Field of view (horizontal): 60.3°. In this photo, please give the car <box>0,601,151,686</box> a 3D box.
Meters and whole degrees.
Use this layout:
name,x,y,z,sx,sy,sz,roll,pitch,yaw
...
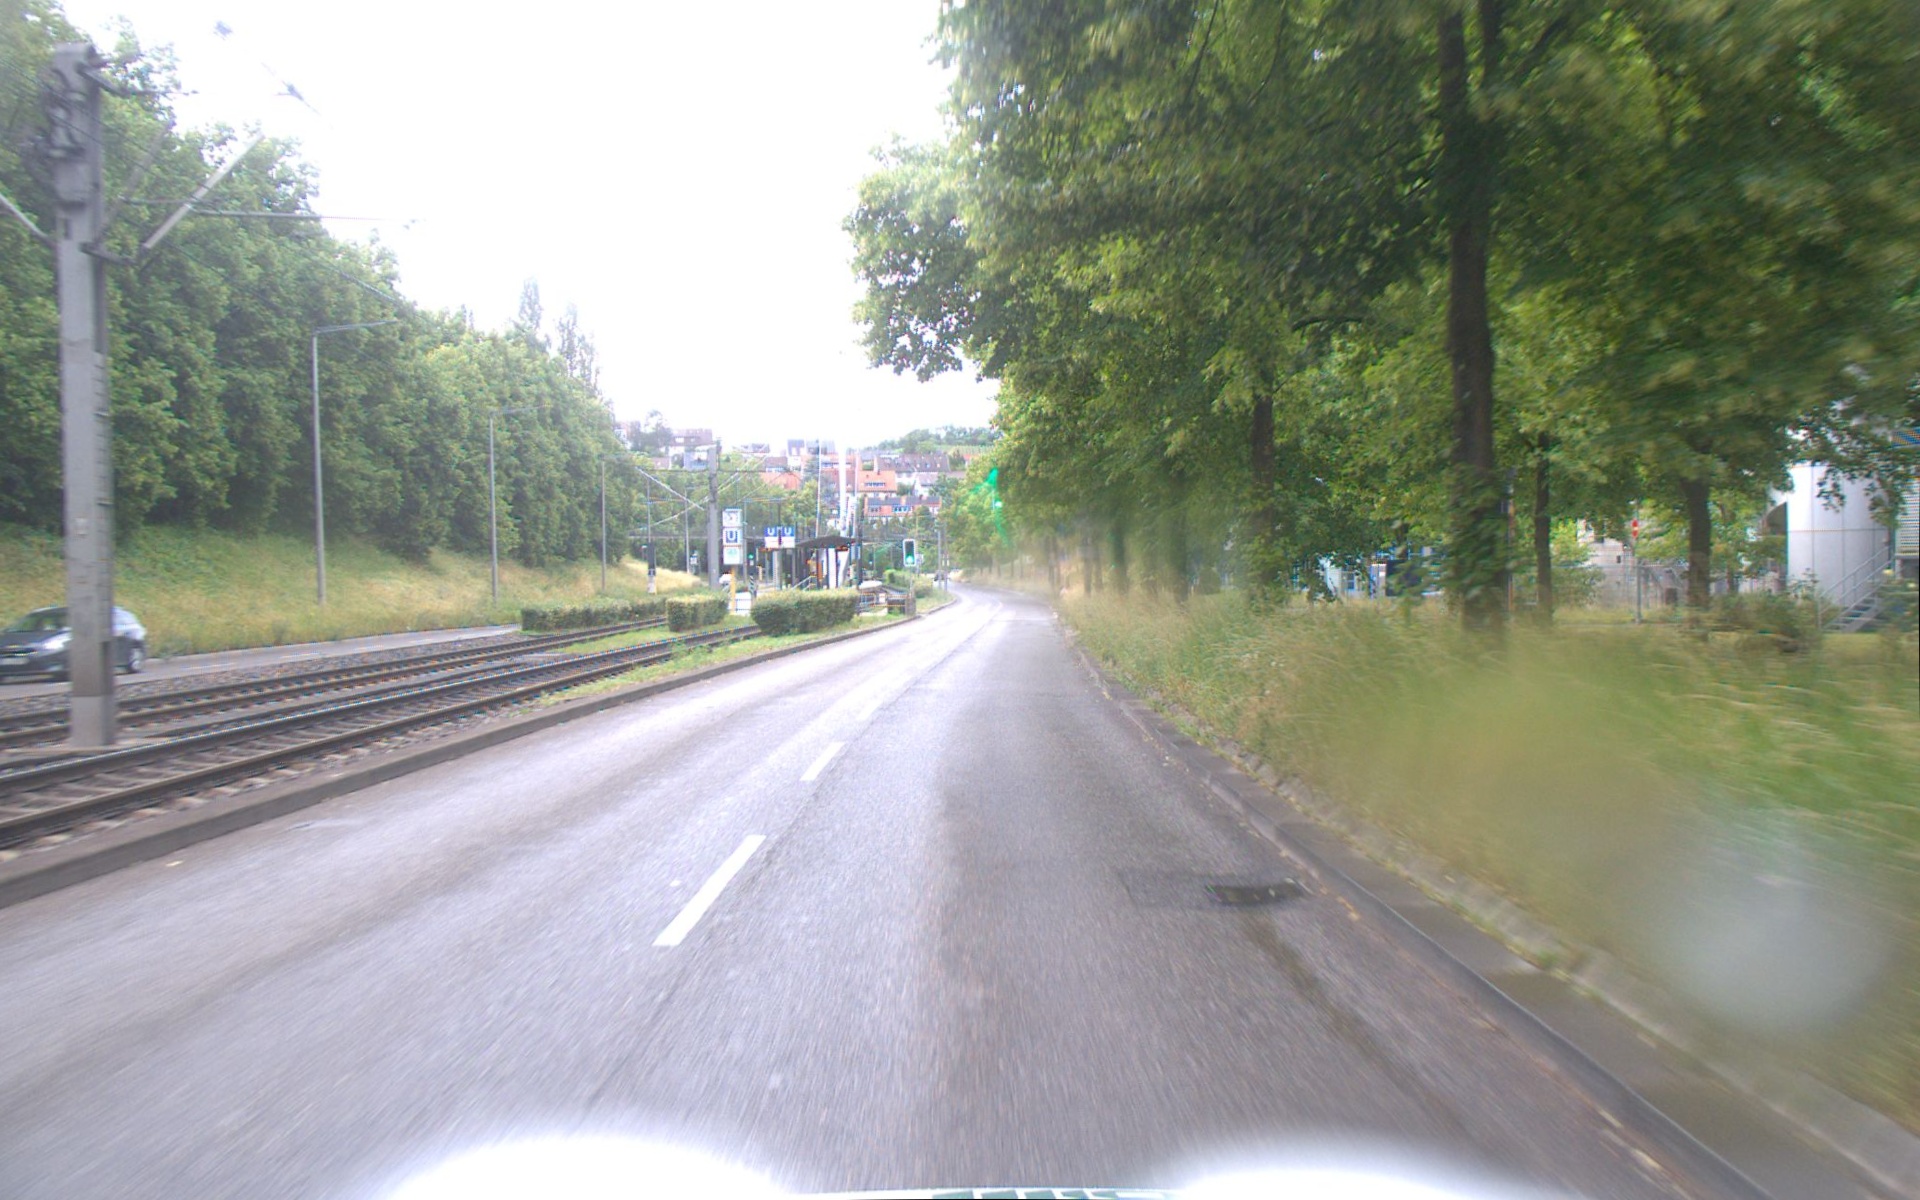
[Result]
name,x,y,z,sx,sy,sz,roll,pitch,yaw
car,-18.276,0.854,33.824,1.750,1.579,3.957,-2,0,-5
